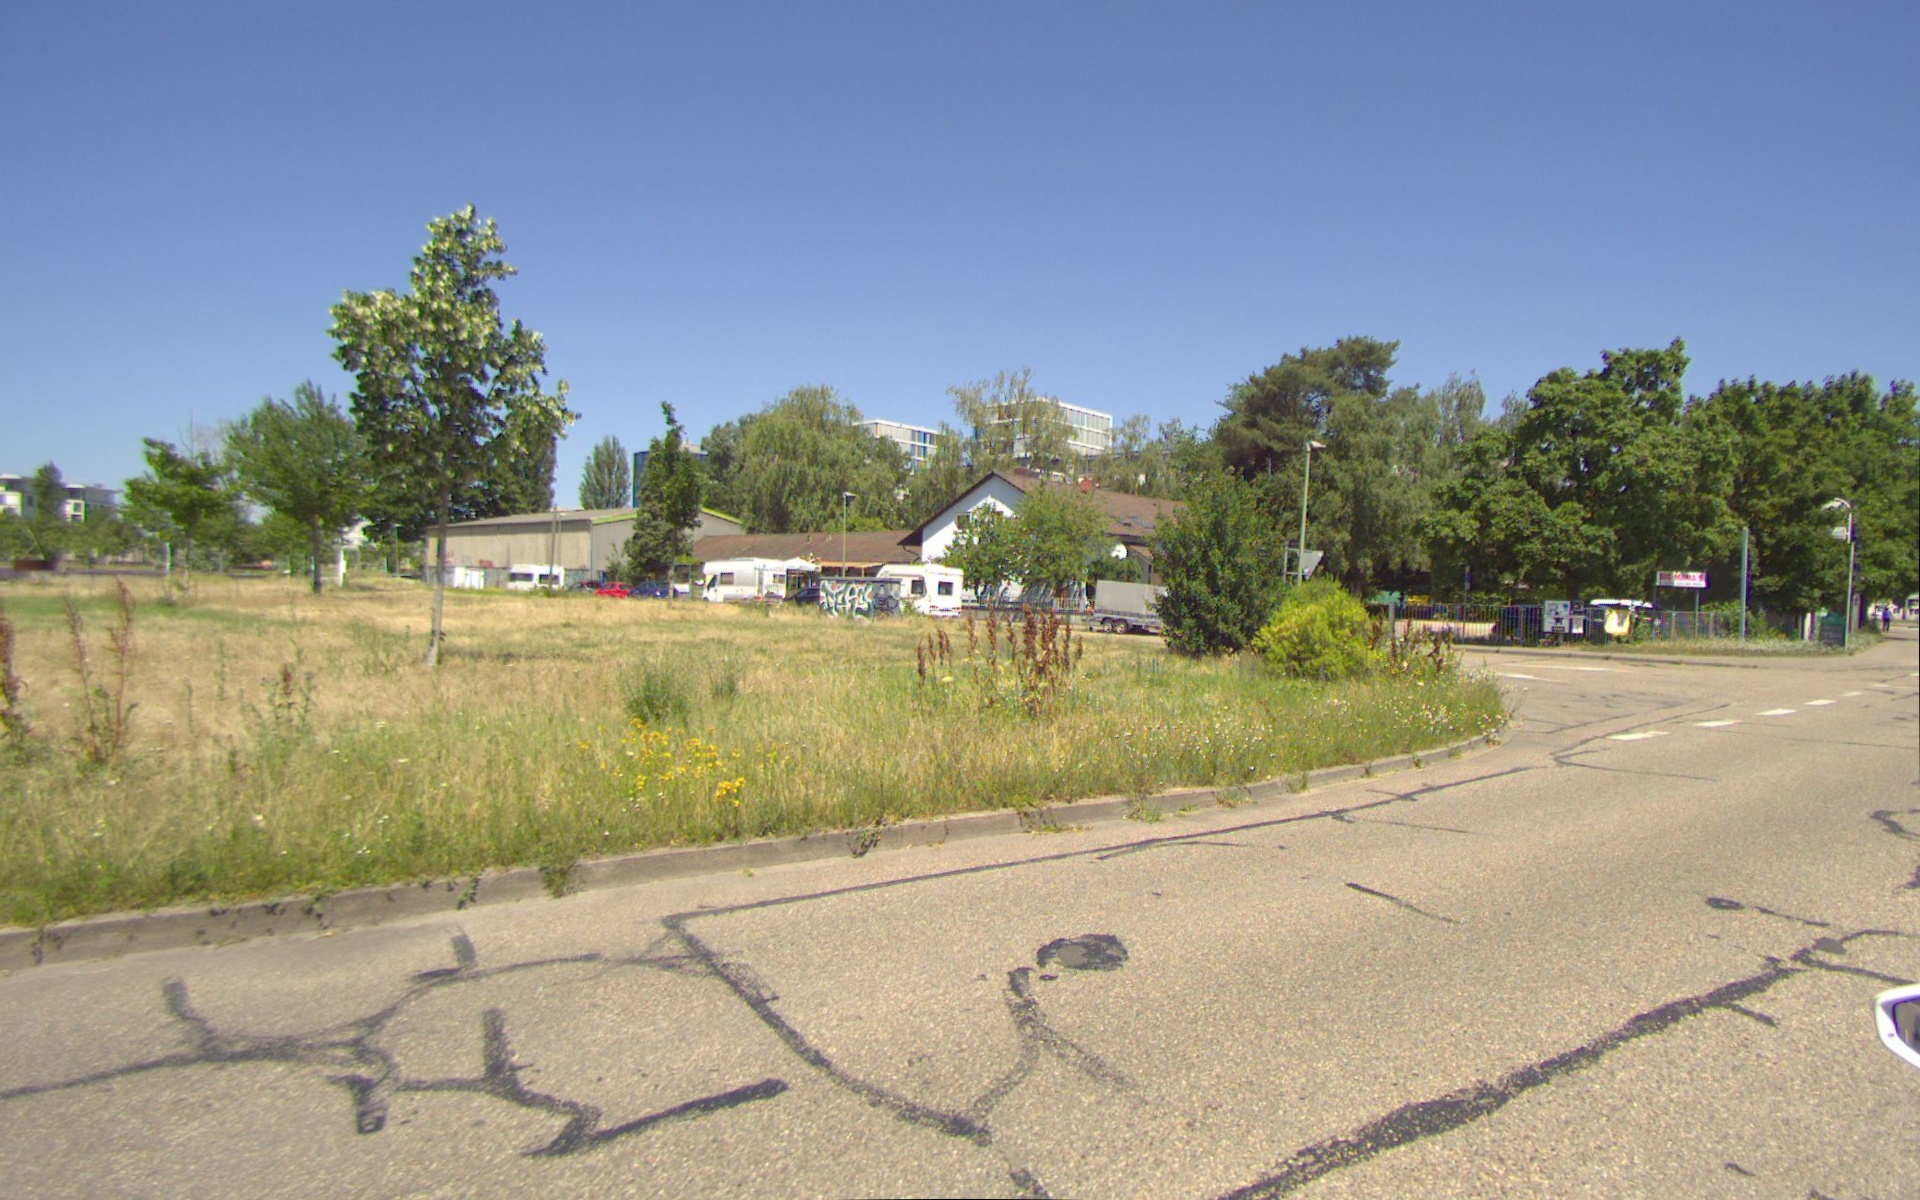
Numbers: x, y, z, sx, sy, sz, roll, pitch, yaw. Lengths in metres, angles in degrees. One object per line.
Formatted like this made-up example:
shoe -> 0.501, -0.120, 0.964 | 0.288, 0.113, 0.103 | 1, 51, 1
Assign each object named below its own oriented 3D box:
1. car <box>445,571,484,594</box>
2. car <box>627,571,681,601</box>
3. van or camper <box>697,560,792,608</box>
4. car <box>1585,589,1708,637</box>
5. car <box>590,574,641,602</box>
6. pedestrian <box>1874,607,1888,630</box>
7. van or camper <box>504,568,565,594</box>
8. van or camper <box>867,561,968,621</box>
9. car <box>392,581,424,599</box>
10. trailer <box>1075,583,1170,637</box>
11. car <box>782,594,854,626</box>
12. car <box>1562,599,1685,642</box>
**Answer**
car -> -42.113, -1.478, 85.410 | 3.527, 1.795, 1.748 | 3, 2, 41
car -> -19.607, -0.902, 64.329 | 3.527, 1.795, 1.748 | 2, 1, 41
van or camper -> -12.551, -0.943, 58.208 | 5.885, 2.628, 2.458 | 2, 1, 43
car -> 31.022, 0.537, 45.456 | 1.769, 2.003, 4.267 | 1, 1, -41
car -> -23.369, -0.816, 68.141 | 3.527, 1.795, 1.748 | 2, 1, 41
pedestrian -> 69.954, 1.384, 76.301 | 0.713, 1.748, 0.815 | 2, 1, 38
van or camper -> -32.253, -1.445, 76.041 | 4.984, 1.905, 2.346 | 2, 1, 41
van or camper -> -2.074, -0.473, 48.320 | 4.405, 2.626, 2.477 | 5, 3, 44
car -> -53.117, -0.947, 96.671 | 3.527, 1.618, 1.583 | 2, 1, 41
trailer -> 6.559, 0.374, 40.767 | 3.378, 2.073, 1.750 | 2, 1, 44
car -> -7.631, 0.505, 53.789 | 1.902, 1.573, 3.948 | 0, 1, -43
car -> 26.796, 0.798, 40.642 | 1.798, 1.546, 3.824 | 0, 1, -44
